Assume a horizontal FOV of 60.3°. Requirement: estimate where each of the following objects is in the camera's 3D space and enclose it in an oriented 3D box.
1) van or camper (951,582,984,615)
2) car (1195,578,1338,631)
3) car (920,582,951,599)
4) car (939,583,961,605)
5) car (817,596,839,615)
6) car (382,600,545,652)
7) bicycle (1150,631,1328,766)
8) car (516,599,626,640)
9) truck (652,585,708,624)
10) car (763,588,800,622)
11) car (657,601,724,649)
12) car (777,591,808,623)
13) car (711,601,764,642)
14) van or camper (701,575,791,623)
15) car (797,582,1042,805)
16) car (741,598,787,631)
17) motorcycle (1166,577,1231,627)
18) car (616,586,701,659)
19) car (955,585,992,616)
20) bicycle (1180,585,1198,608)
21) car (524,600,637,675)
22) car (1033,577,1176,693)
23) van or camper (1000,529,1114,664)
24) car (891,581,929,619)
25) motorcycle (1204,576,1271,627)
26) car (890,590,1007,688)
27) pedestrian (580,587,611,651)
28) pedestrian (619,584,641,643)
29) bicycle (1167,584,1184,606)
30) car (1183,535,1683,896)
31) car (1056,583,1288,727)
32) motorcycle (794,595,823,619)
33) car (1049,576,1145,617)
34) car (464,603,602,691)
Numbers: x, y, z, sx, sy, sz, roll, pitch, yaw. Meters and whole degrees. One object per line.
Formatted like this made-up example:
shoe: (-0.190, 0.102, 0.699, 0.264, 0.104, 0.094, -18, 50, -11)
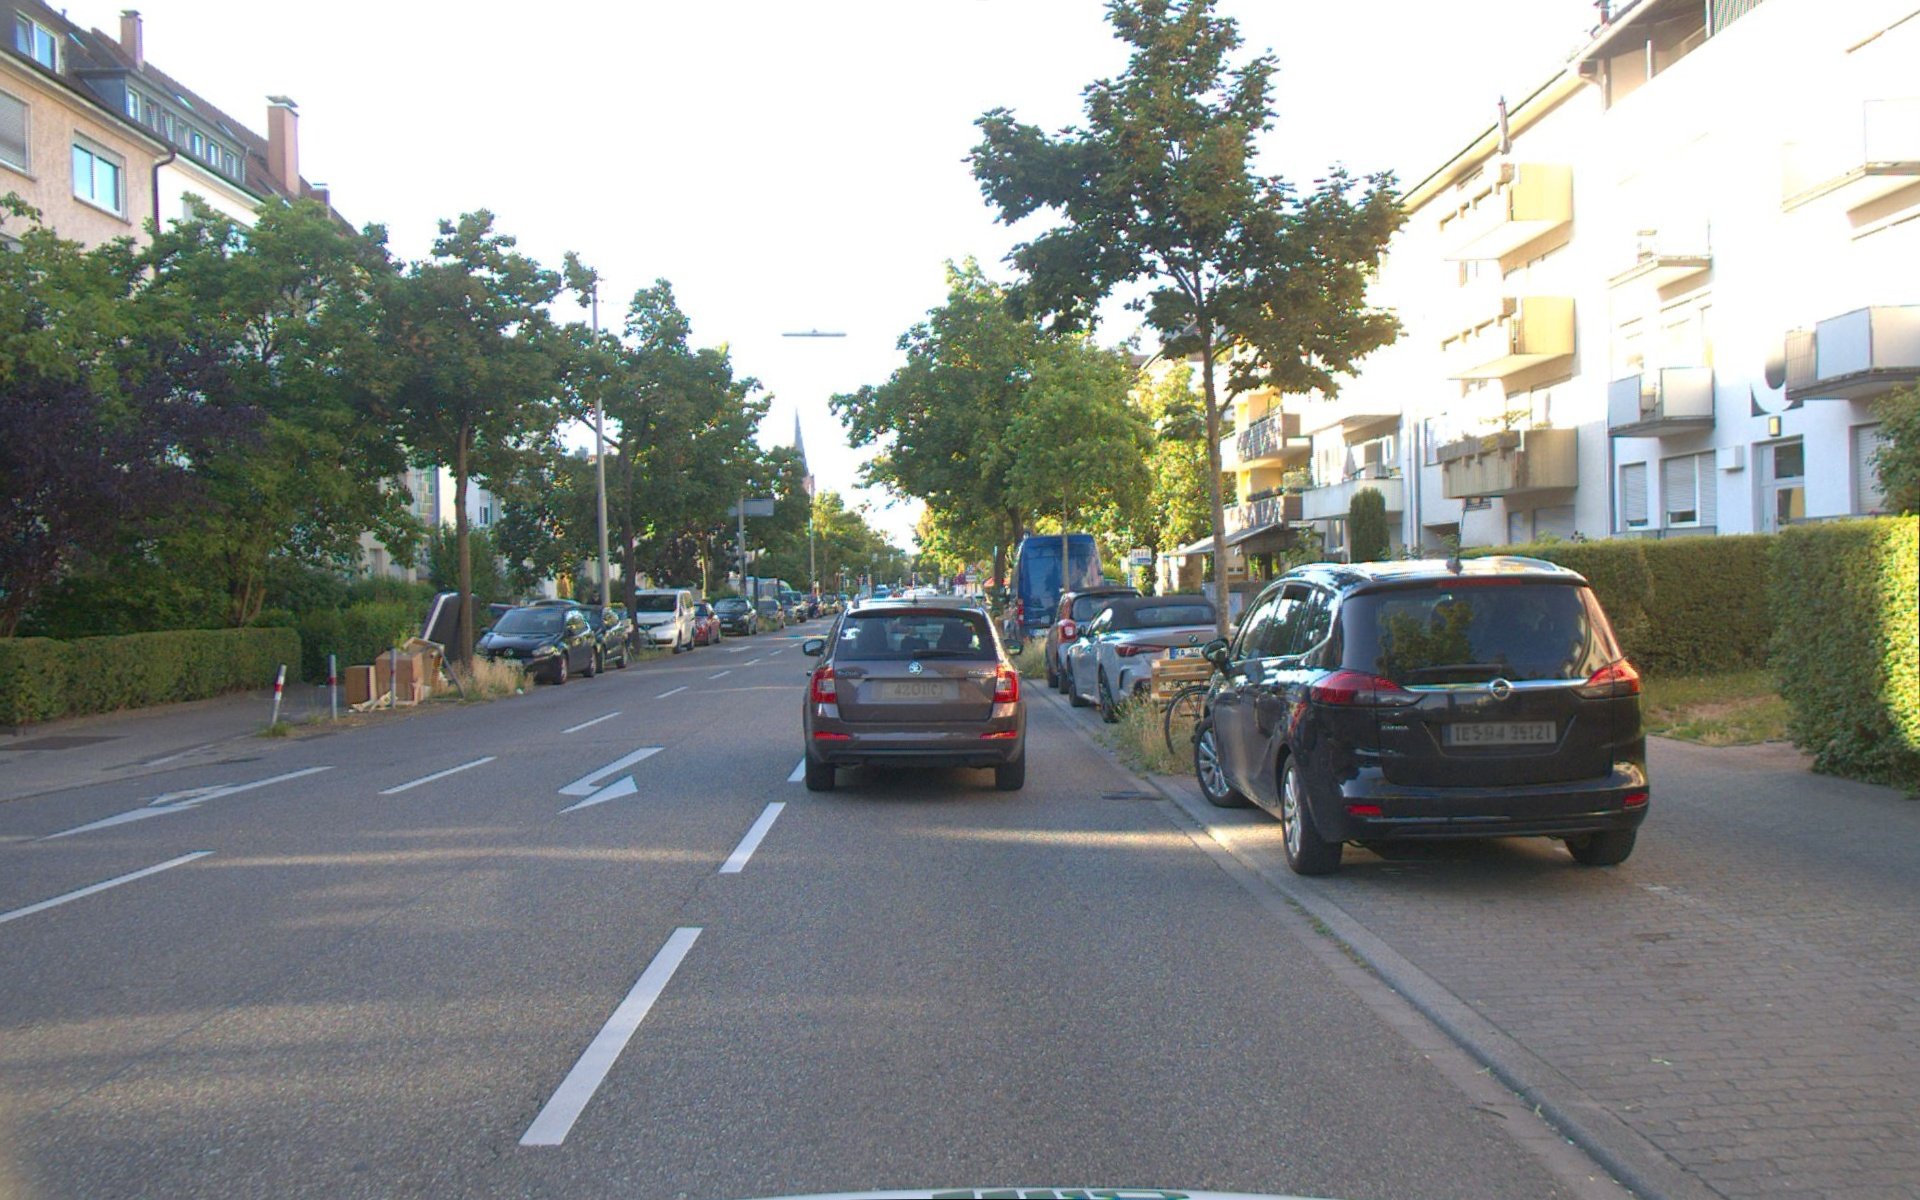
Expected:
van or camper: (0.462, -0.117, 106.573, 1.953, 2.049, 3.999, -1, 1, -1)
car: (9.250, 0.128, 50.126, 3.909, 1.487, 1.823, -1, 1, -5)
car: (-2.771, -1.122, 185.964, 1.839, 1.788, 4.176, -1, 1, 24)
car: (-0.872, -0.537, 142.330, 1.695, 1.846, 3.949, -1, 1, -3)
car: (-10.726, 0.406, 134.415, 1.630, 1.457, 3.274, -1, 1, -2)
car: (-15.059, 0.771, 50.407, 4.632, 1.386, 1.992, -2, 1, -15)
bicycle: (2.401, 0.835, 14.246, 1.452, 1.077, 0.410, -2, 1, -15)
car: (-15.199, 0.742, 64.792, 3.909, 1.505, 1.998, 0, 1, -5)
truck: (-15.841, 0.234, 93.581, 2.855, 2.130, 1.545, -1, 1, -2)
car: (-9.951, 0.248, 92.300, 1.715, 1.771, 3.590, -1, 1, -1)
car: (-9.017, 0.807, 55.578, 1.682, 1.445, 3.785, -1, 1, -1)
car: (-9.789, 0.377, 96.973, 1.476, 1.788, 3.692, -1, 1, -2)
car: (-9.078, 0.850, 67.722, 1.682, 1.523, 4.247, -1, 1, -1)
van or camper: (-18.475, -0.090, 143.260, 7.488, 3.942, 1.999, -1, 1, -4)
car: (-0.283, 0.639, 13.640, 1.694, 1.520, 3.951, -1, 1, 0)
car: (-9.338, 0.666, 79.133, 1.718, 1.445, 4.425, -1, 1, -1)
motorcycle: (8.223, 0.063, 56.992, 2.148, 1.649, 0.731, -1, 1, 5)
car: (-8.790, 0.611, 48.539, 1.734, 1.952, 4.459, -1, 1, -1)
car: (0.689, 0.011, 82.675, 1.783, 1.437, 4.112, -1, 1, 1)
bicycle: (9.967, -0.144, 71.994, 0.335, 0.967, 1.580, -4, 0, -7)
car: (-8.640, 0.820, 37.961, 1.715, 1.529, 3.977, -1, 1, -1)
car: (2.233, 0.528, 26.452, 1.737, 1.671, 3.755, -1, 0, -3)
van or camper: (2.071, -0.059, 37.055, 2.026, 2.722, 5.988, -1, 0, -1)
car: (-2.316, -0.029, 76.922, 1.697, 1.680, 3.541, -1, 1, -1)
motorcycle: (9.388, 0.045, 56.101, 2.148, 1.649, 0.890, -1, 1, 5)
car: (-0.270, 0.617, 28.656, 1.696, 1.520, 3.947, -1, 1, -5)
pedestrian: (-11.883, 0.609, 53.941, 0.752, 2.049, 0.975, -1, 1, -2)
pedestrian: (-11.665, 0.464, 58.526, 0.614, 2.049, 0.616, -1, 0, -2)
bicycle: (9.465, -0.229, 72.596, 0.335, 0.967, 1.580, 1, 0, -7)
car: (2.554, 0.520, 10.047, 1.697, 1.680, 4.290, -1, 1, -1)
car: (2.473, 0.575, 20.543, 1.883, 1.512, 4.741, -1, 1, -5)
motorcycle: (-9.843, 0.457, 107.333, 0.761, 1.538, 1.998, -2, 1, -44)
car: (6.853, -0.199, 82.800, 4.484, 1.926, 1.896, -2, 1, -29)
car: (-8.445, 0.886, 33.021, 1.715, 1.529, 4.196, -1, 1, -1)
